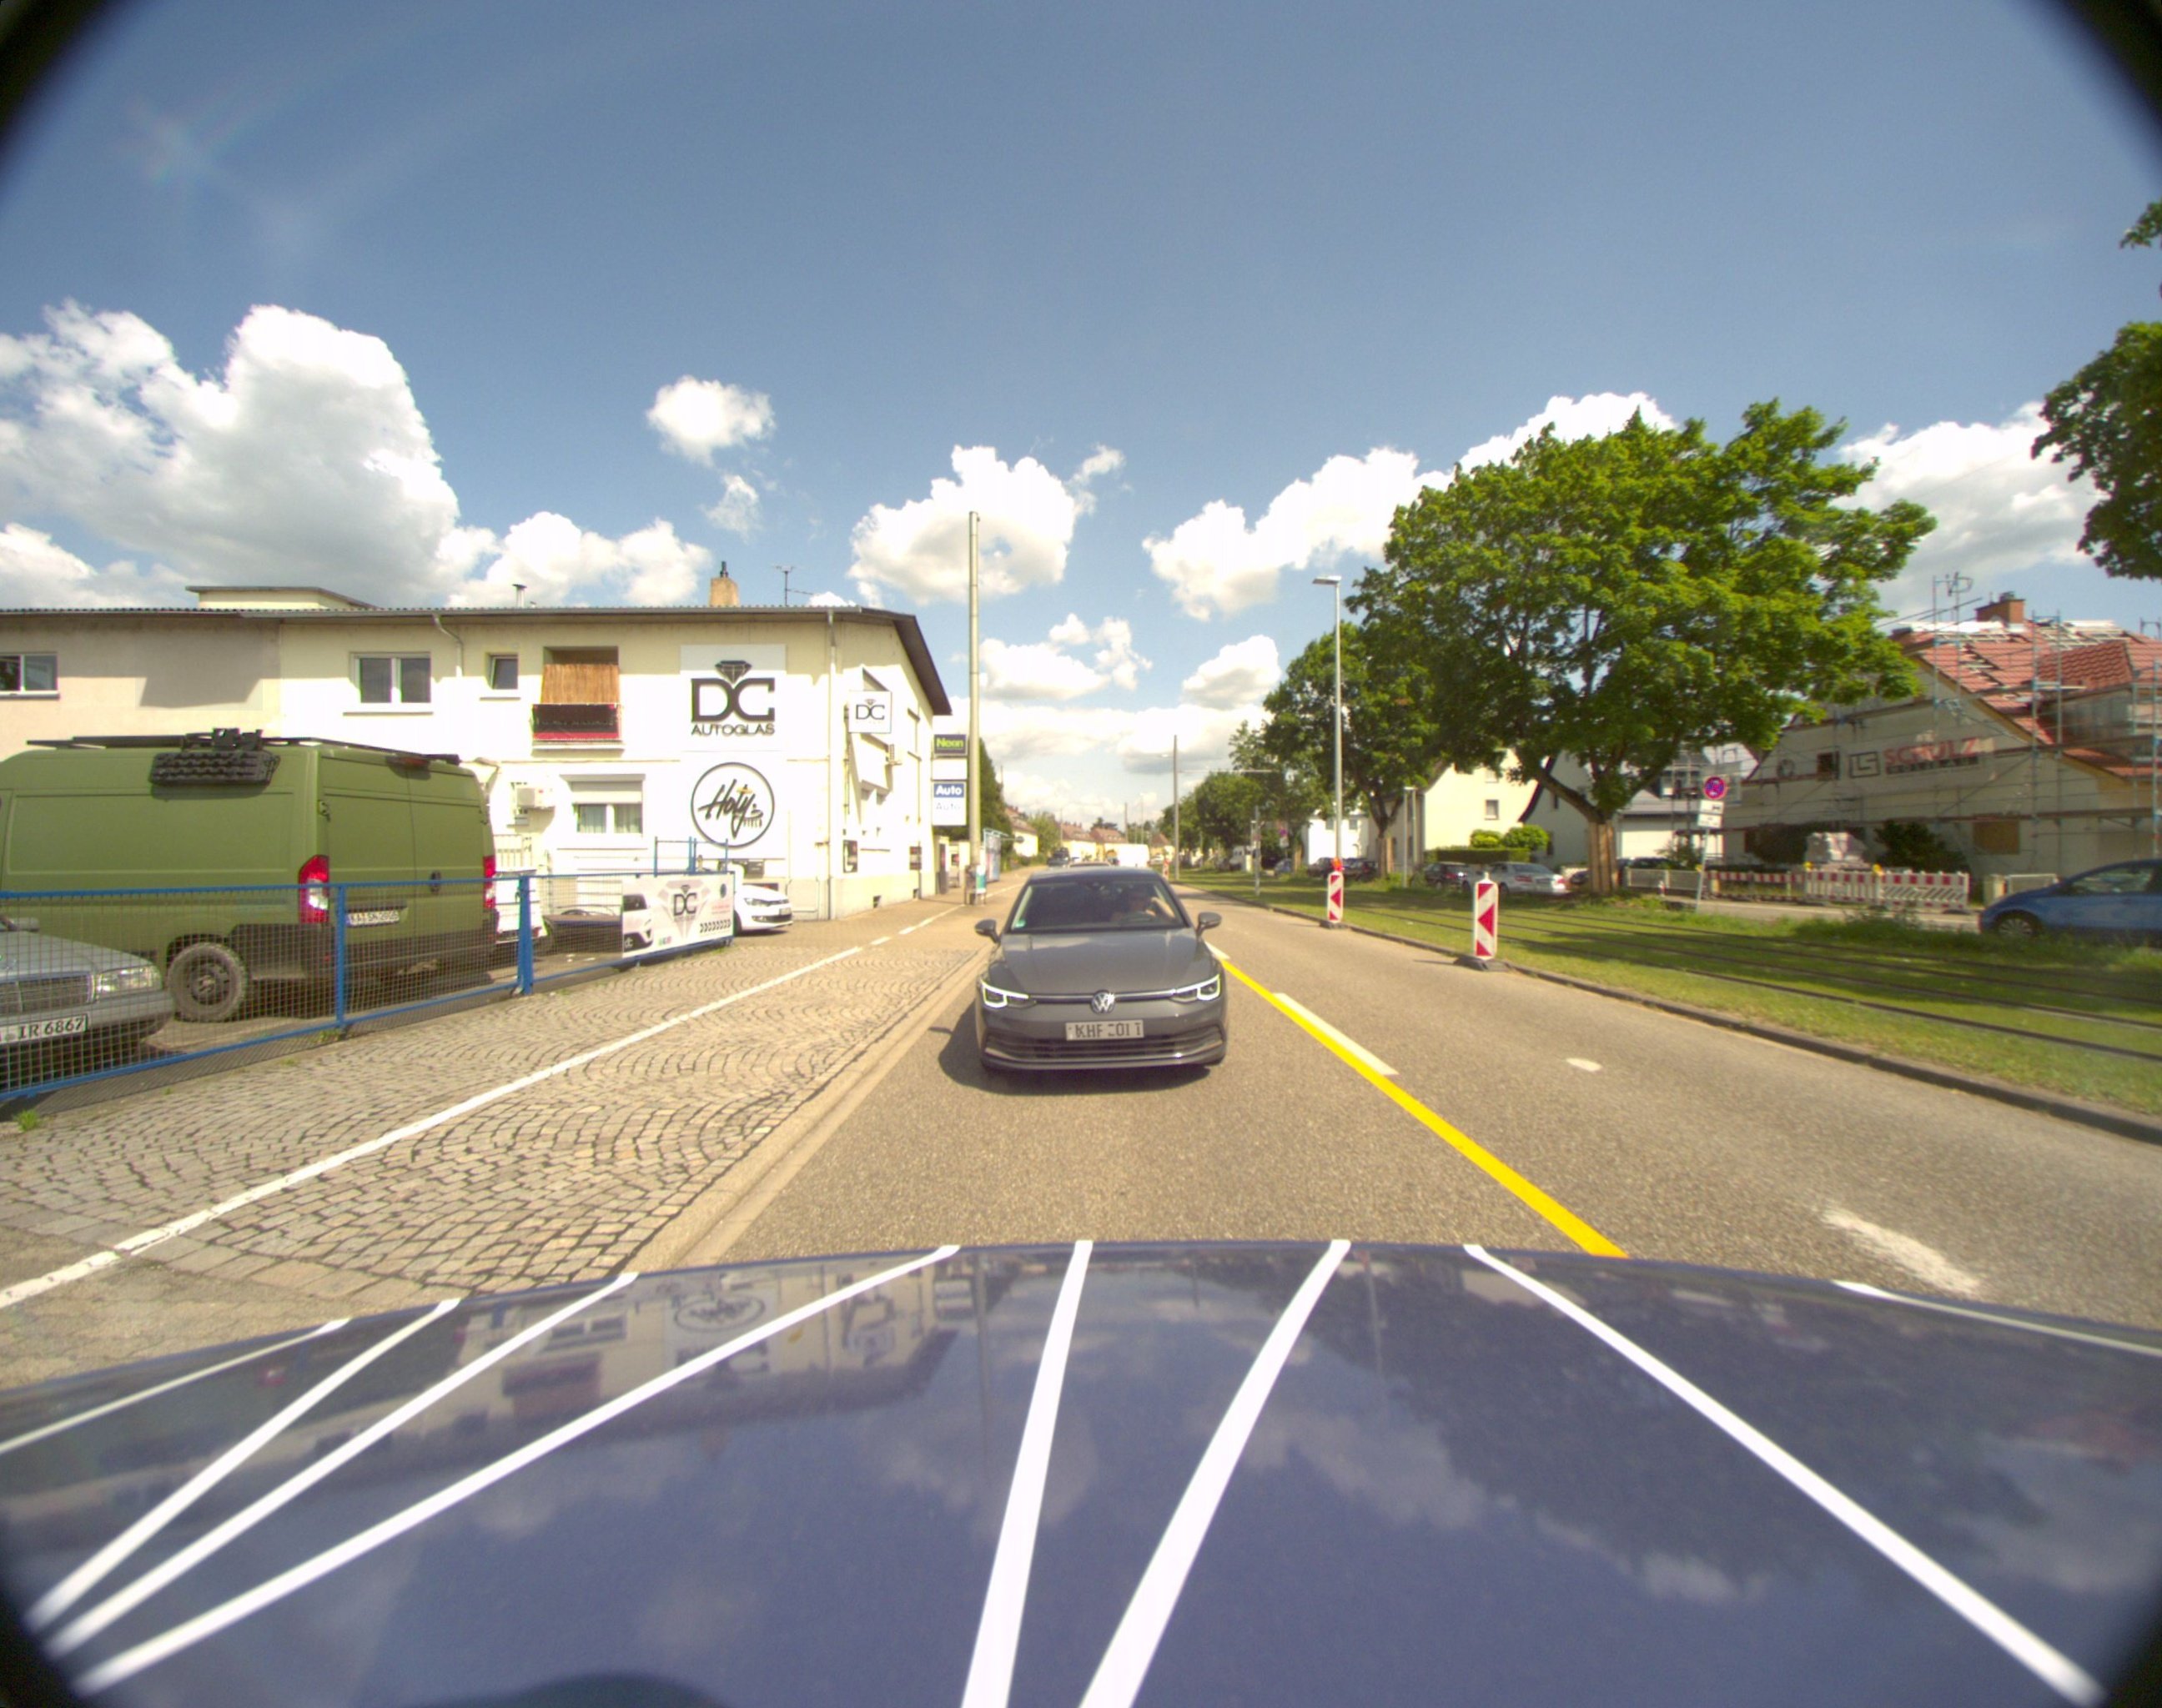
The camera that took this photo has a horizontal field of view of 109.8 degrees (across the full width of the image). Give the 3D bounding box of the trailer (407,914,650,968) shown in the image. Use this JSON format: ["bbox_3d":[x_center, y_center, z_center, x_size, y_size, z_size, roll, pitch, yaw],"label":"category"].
[{"bbox_3d":[-8.366,1.309,11.656,2.733,0.662,1.329,0,0,-1],"label":"trailer"}]

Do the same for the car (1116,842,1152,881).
[{"bbox_3d":[3.553,0.456,51.818,2.090,2.449,5.842,2,0,2],"label":"car"}]

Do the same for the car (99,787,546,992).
[{"bbox_3d":[-9.499,0.425,9.732,4.207,2.392,1.586,0,0,2],"label":"car"}]

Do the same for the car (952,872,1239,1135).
[{"bbox_3d":[0.112,0.937,6.523,1.702,1.477,4.000,0,0,1],"label":"car"}]

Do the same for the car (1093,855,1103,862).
[{"bbox_3d":[3.843,0.927,173.594,1.700,1.574,4.004,0,0,12],"label":"car"}]

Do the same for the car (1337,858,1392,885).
[{"bbox_3d":[16.770,1.040,45.153,1.702,1.477,4.407,-1,-1,1],"label":"car"}]

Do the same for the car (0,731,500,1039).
[{"bbox_3d":[-8.725,0.273,7.606,4.207,2.627,2.113,0,0,2],"label":"car"}]

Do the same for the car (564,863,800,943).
[{"bbox_3d":[-7.660,0.918,14.814,3.775,1.454,1.555,0,0,2],"label":"car"}]

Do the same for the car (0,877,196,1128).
[{"bbox_3d":[-8.457,0.890,4.771,4.282,1.444,1.713,0,0,8],"label":"car"}]

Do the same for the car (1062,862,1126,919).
[{"bbox_3d":[0.369,0.997,22.240,1.702,1.477,4.000,0,0,1],"label":"car"}]

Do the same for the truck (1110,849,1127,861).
[{"bbox_3d":[9.908,0.160,201.048,2.710,3.119,8.124,0,0,15],"label":"truck"}]

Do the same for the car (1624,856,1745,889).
[{"bbox_3d":[28.906,0.894,36.509,4.402,1.477,1.704,-1,-1,1],"label":"car"}]

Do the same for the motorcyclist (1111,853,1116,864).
[{"bbox_3d":[3.928,0.553,91.828,0.658,1.284,0.780,0,0,2],"label":"motorcyclist"}]

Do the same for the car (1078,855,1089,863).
[{"bbox_3d":[0.482,0.915,146.704,1.701,1.574,4.002,0,0,6],"label":"car"}]

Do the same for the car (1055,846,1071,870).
[{"bbox_3d":[-1.914,0.457,82.436,1.702,2.510,5.144,0,0,0],"label":"car"}]

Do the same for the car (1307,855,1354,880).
[{"bbox_3d":[16.553,0.904,50.659,1.702,1.562,4.407,-1,-1,1],"label":"car"}]

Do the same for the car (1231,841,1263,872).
[{"bbox_3d":[16.816,0.281,77.269,2.136,3.019,5.084,-1,-1,1],"label":"car"}]

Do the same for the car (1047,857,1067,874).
[{"bbox_3d":[-2.186,1.054,70.751,1.702,1.574,4.000,0,0,1],"label":"car"}]

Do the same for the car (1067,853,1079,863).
[{"bbox_3d":[-1.317,0.683,123.037,1.701,1.574,4.001,0,0,3],"label":"car"}]

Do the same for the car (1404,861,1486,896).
[{"bbox_3d":[16.625,1.124,34.935,1.702,1.477,4.407,-1,-1,1],"label":"car"}]

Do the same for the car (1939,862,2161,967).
[{"bbox_3d":[16.204,0.868,11.397,1.702,1.477,4.407,-1,-1,1],"label":"car"}]

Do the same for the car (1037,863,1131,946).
[{"bbox_3d":[0.080,0.943,15.824,1.702,1.477,4.000,0,0,1],"label":"car"}]

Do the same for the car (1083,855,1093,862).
[{"bbox_3d":[1.440,0.919,155.835,1.701,1.574,4.002,0,0,7],"label":"car"}]

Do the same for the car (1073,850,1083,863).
[{"bbox_3d":[-0.491,0.432,136.400,1.701,2.233,4.947,0,0,2],"label":"car"}]

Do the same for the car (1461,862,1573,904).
[{"bbox_3d":[16.445,1.069,28.948,1.788,1.477,4.523,-1,-1,2],"label":"car"}]

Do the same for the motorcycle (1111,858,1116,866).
[{"bbox_3d":[3.931,0.957,91.915,0.658,1.040,2.111,0,0,3],"label":"motorcycle"}]

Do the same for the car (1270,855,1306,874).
[{"bbox_3d":[16.643,0.881,61.279,1.702,1.477,4.407,-1,-1,1],"label":"car"}]

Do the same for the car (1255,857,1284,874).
[{"bbox_3d":[17.645,1.084,71.324,1.702,1.477,4.407,-1,-1,1],"label":"car"}]
